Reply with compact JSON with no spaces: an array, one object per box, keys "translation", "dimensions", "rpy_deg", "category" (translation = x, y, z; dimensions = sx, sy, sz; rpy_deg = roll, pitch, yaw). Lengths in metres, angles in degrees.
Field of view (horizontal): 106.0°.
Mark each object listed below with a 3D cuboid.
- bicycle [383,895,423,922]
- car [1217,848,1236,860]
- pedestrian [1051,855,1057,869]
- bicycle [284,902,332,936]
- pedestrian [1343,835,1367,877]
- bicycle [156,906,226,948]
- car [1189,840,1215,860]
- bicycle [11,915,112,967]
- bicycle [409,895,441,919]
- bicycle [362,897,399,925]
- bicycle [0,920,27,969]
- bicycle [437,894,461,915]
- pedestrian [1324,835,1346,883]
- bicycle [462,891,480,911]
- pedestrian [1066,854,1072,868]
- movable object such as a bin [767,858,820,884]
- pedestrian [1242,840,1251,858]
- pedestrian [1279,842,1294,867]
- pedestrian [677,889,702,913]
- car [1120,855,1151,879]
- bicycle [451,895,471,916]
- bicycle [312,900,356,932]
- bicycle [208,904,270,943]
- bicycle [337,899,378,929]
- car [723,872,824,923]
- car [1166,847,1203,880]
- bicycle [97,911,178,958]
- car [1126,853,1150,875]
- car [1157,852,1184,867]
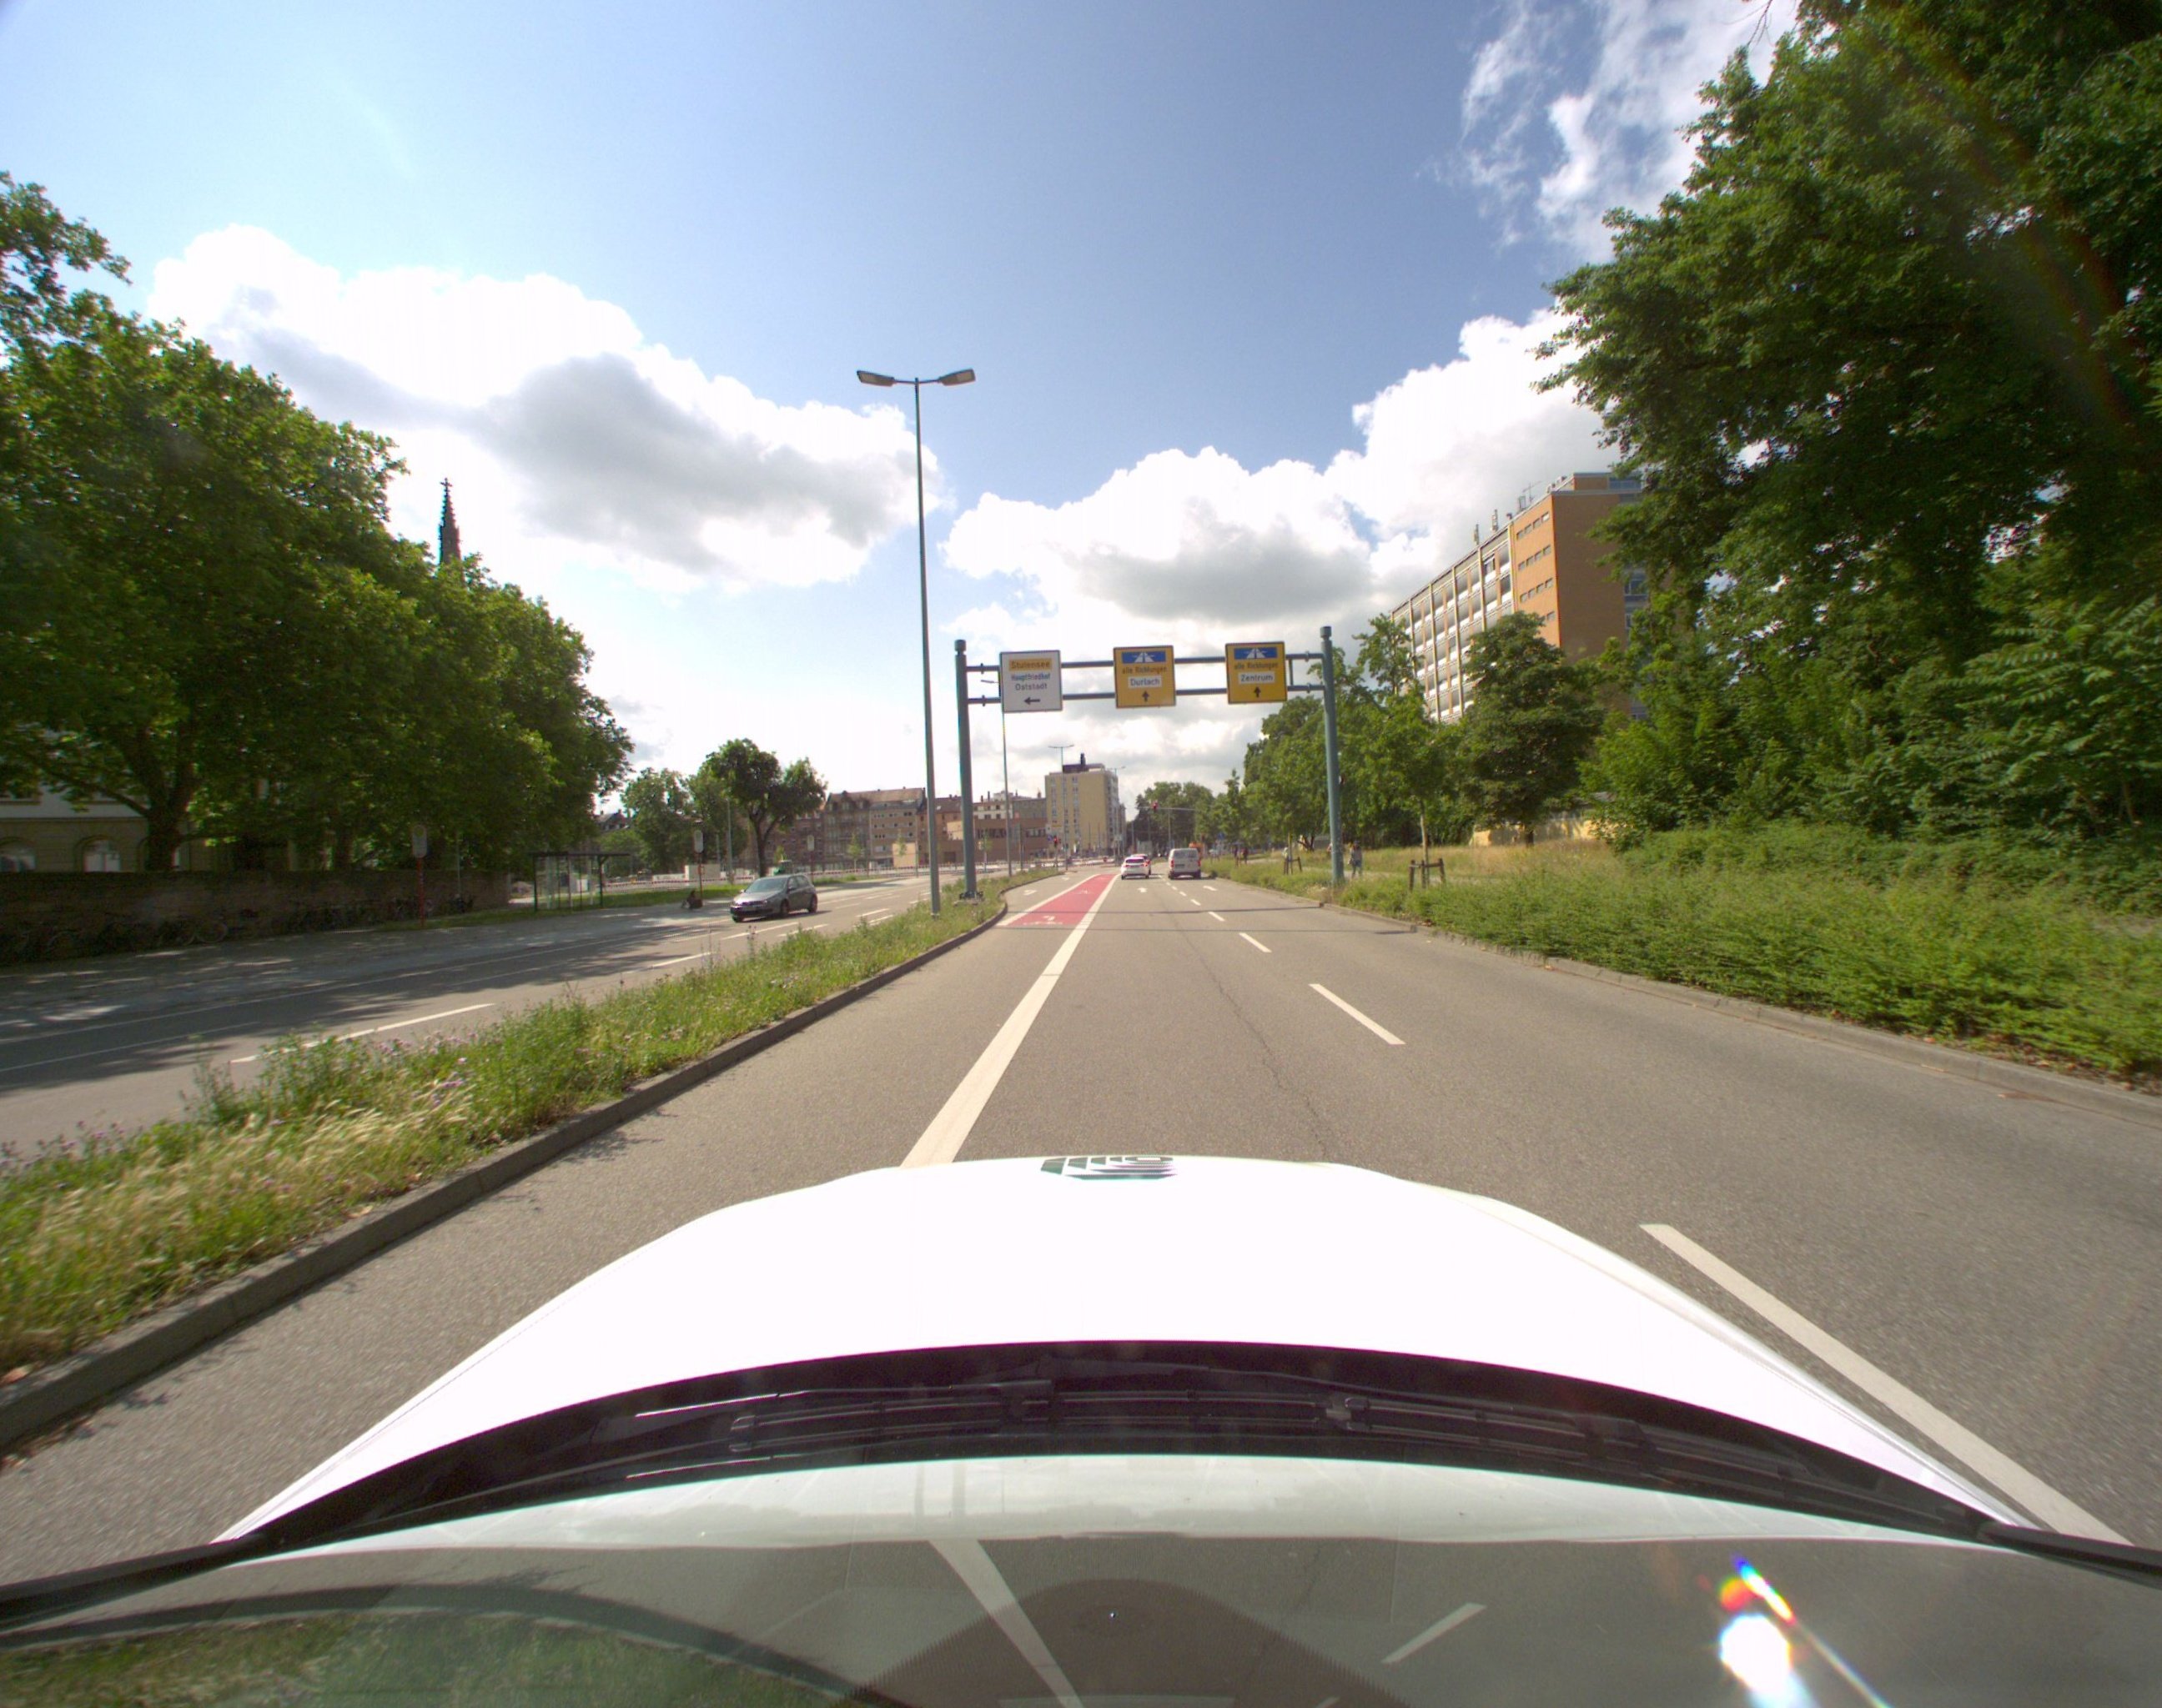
[{"translation":[-29.932,2.401,35.972],"dimensions":[0.583,1.073,1.861],"rpy_deg":[-2,0,-14],"category":"bicycle"},{"translation":[25.055,-0.007,140.245],"dimensions":[1.974,1.826,4.025],"rpy_deg":[-3,-1,29],"category":"car"},{"translation":[-3.470,1.056,105.872],"dimensions":[0.521,1.733,0.626],"rpy_deg":[-3,0,13],"category":"pedestrian"},{"translation":[-27.601,2.299,29.108],"dimensions":[0.584,1.073,1.621],"rpy_deg":[-2,0,-19],"category":"bicycle"},{"translation":[10.613,0.069,31.554],"dimensions":[0.620,1.581,0.709],"rpy_deg":[-3,0,3],"category":"pedestrian"},{"translation":[-26.005,2.104,23.832],"dimensions":[0.584,1.073,1.744],"rpy_deg":[-2,0,-19],"category":"bicycle"},{"translation":[17.146,-0.585,115.560],"dimensions":[2.110,2.780,4.667],"rpy_deg":[-3,-1,27],"category":"car"},{"translation":[-25.162,2.123,20.138],"dimensions":[0.583,1.073,1.747],"rpy_deg":[-2,0,-14],"category":"bicycle"},{"translation":[-30.938,2.489,38.427],"dimensions":[0.472,1.011,1.952],"rpy_deg":[-3,0,-18],"category":"bicycle"},{"translation":[-29.336,2.370,34.130],"dimensions":[0.584,1.073,1.621],"rpy_deg":[-2,0,-19],"category":"bicycle"},{"translation":[-24.677,2.080,18.057],"dimensions":[0.583,1.073,1.748],"rpy_deg":[-2,0,-13],"category":"bicycle"},{"translation":[-32.366,2.575,41.738],"dimensions":[0.472,1.011,1.447],"rpy_deg":[-3,0,-18],"category":"bicycle"},{"translation":[9.775,0.187,31.358],"dimensions":[0.564,1.801,0.639],"rpy_deg":[-3,0,3],"category":"pedestrian"},{"translation":[-33.549,2.595,44.792],"dimensions":[0.353,1.011,1.247],"rpy_deg":[-2,0,-18],"category":"bicycle"},{"translation":[-1.500,0.926,104.375],"dimensions":[0.521,1.733,0.626],"rpy_deg":[-3,0,13],"category":"pedestrian"},{"translation":[-35.342,2.129,100.194],"dimensions":[5.574,2.885,2.260],"rpy_deg":[-2,-1,-43],"category":"movable object such as a bin"},{"translation":[16.491,-0.527,81.312],"dimensions":[0.738,1.735,0.680],"rpy_deg":[-3,-1,7],"category":"pedestrian"},{"translation":[13.763,0.024,54.559],"dimensions":[0.864,1.638,0.722],"rpy_deg":[-3,-1,5],"category":"pedestrian"},{"translation":[-17.113,2.046,35.620],"dimensions":[0.692,0.963,0.743],"rpy_deg":[-2,0,1],"category":"pedestrian"},{"translation":[3.616,0.850,53.784],"dimensions":[1.895,1.424,4.390],"rpy_deg":[-3,0,4],"category":"car"},{"translation":[-33.012,2.723,43.362],"dimensions":[0.392,1.011,1.362],"rpy_deg":[-2,0,-18],"category":"bicycle"},{"translation":[-28.129,2.307,30.693],"dimensions":[0.584,1.073,1.621],"rpy_deg":[-2,0,-19],"category":"bicycle"},{"translation":[-26.591,2.178,25.748],"dimensions":[0.584,1.073,1.744],"rpy_deg":[-2,0,-19],"category":"bicycle"},{"translation":[-28.673,2.354,32.301],"dimensions":[0.584,1.073,1.621],"rpy_deg":[-2,0,-19],"category":"bicycle"},{"translation":[-10.601,1.446,28.401],"dimensions":[1.693,1.445,4.148],"rpy_deg":[-4,0,3],"category":"car"},{"translation":[6.405,0.542,50.909],"dimensions":[1.933,1.870,4.831],"rpy_deg":[-3,0,4],"category":"car"},{"translation":[-25.501,2.159,22.049],"dimensions":[0.584,1.073,1.744],"rpy_deg":[-2,0,-19],"category":"bicycle"},{"translation":[4.326,0.747,61.837],"dimensions":[1.783,1.539,4.016],"rpy_deg":[-1,0,4],"category":"car"},{"translation":[11.130,0.679,101.222],"dimensions":[1.975,1.816,4.023],"rpy_deg":[0,-1,26],"category":"car"}]
